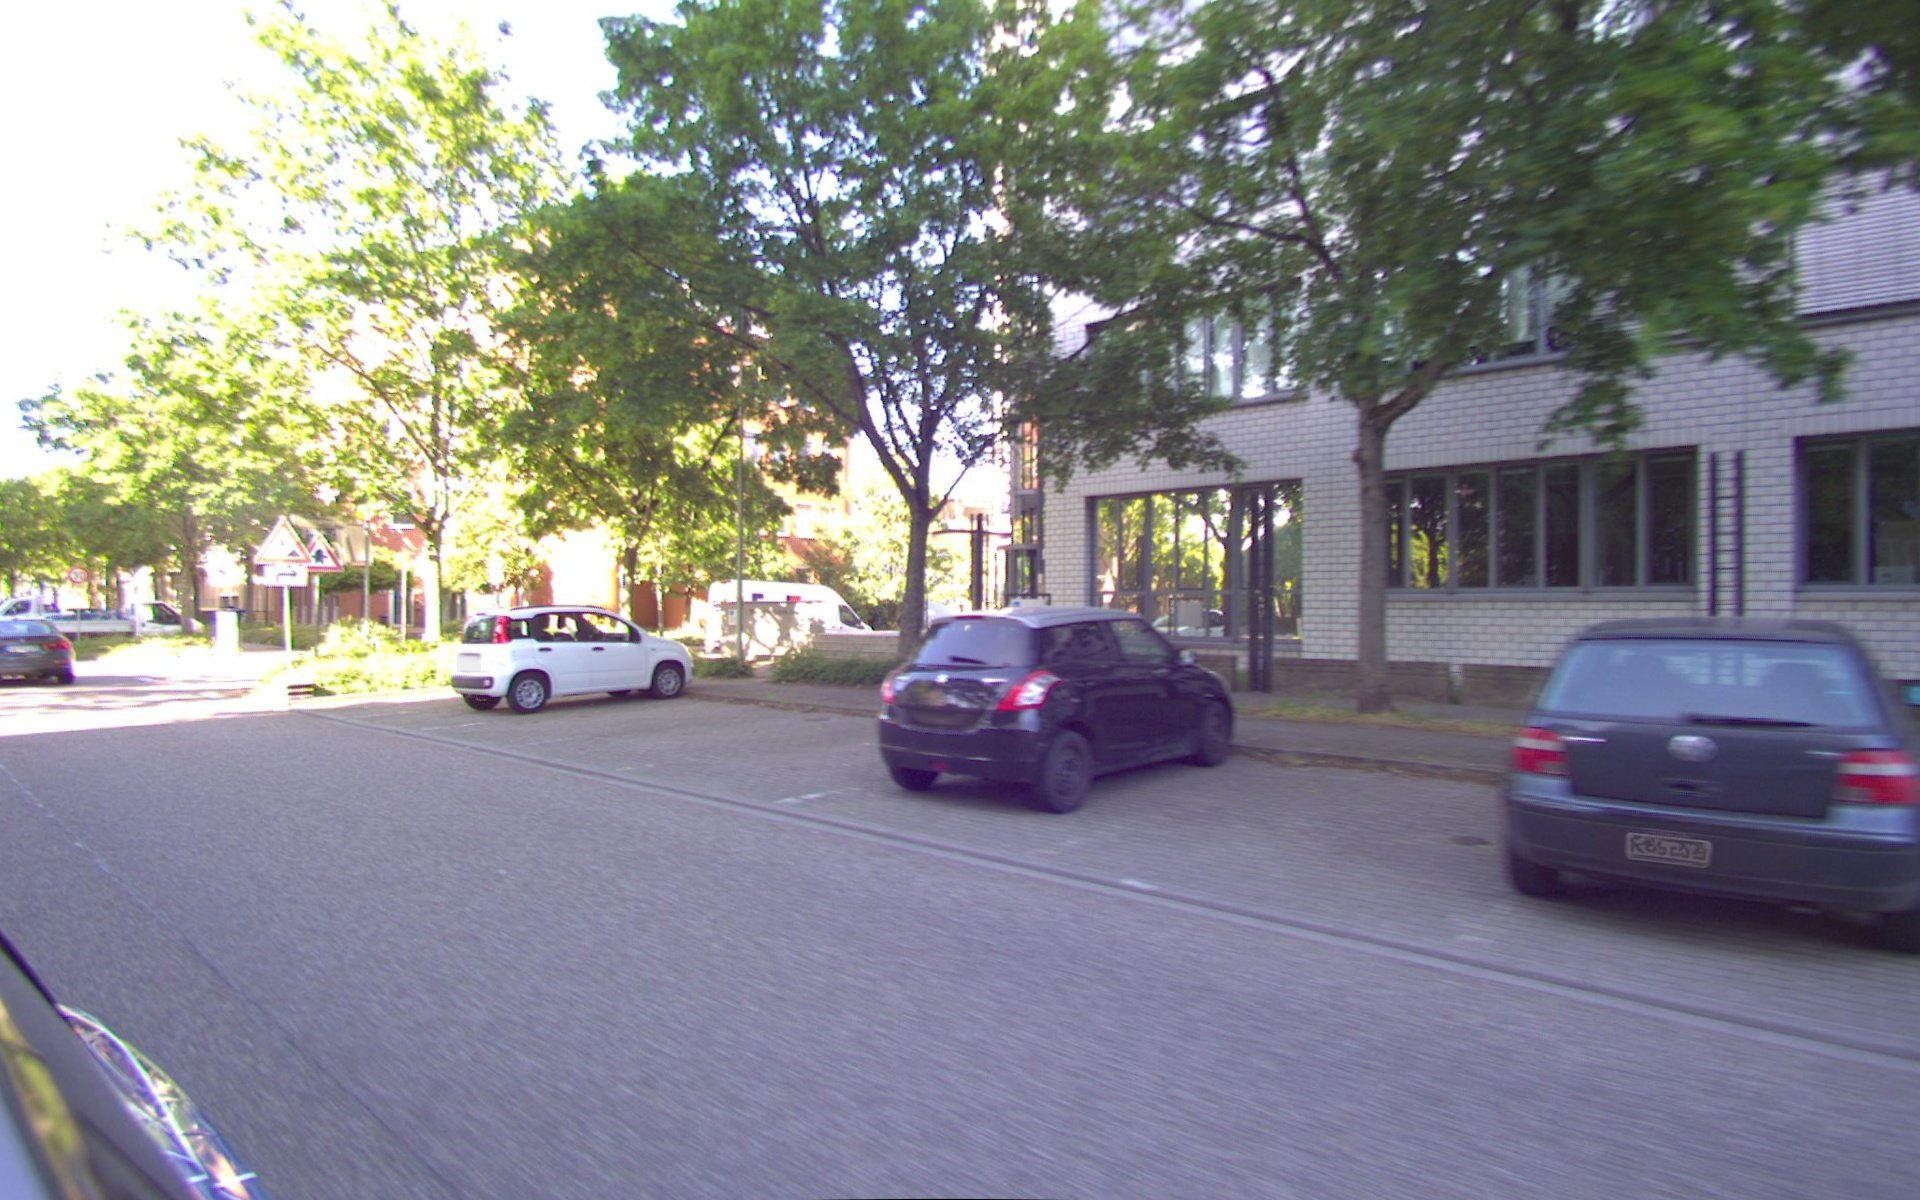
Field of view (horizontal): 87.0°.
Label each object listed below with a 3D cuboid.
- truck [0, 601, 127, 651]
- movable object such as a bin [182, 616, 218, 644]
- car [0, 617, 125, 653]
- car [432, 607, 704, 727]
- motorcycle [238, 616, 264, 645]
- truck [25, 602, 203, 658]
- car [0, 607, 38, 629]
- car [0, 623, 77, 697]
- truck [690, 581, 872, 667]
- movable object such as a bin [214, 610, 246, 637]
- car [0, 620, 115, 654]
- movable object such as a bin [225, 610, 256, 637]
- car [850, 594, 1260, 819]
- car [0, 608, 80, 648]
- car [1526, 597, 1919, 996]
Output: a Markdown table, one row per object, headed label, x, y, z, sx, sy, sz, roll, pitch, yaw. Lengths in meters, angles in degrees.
| label | x | y | z | sx | sy | sz | roll | pitch | yaw |
| --- | --- | --- | --- | --- | --- | --- | --- | --- | --- |
| truck | -46.334 | 1.303 | 51.251 | 2.187 | 2.440 | 6.165 | -1 | -2 | 42 |
| movable object such as a bin | -49.049 | 1.920 | 65.284 | 1.664 | 1.810 | 1.581 | -1 | -2 | 43 |
| car | -42.134 | 1.621 | 47.323 | 1.888 | 1.453 | 4.495 | -2 | 0 | 40 |
| car | -5.916 | 0.918 | 15.558 | 1.636 | 1.561 | 3.545 | 2 | 1 | 39 |
| motorcycle | -40.863 | 1.758 | 58.290 | 2.108 | 1.603 | 0.707 | -1 | -2 | 40 |
| truck | -31.875 | 1.135 | 38.232 | 2.138 | 1.974 | 4.930 | -1 | -2 | 43 |
| car | -67.162 | 1.283 | 70.816 | 1.753 | 1.463 | 3.716 | -2 | 0 | 41 |
| car | -19.856 | 1.196 | 21.035 | 4.106 | 1.426 | 1.794 | -1 | -1 | 42 |
| truck | -6.106 | 0.841 | 35.309 | 2.576 | 2.725 | 6.042 | -1 | -2 | 39 |
| movable object such as a bin | -44.872 | 1.425 | 62.211 | 1.436 | 1.632 | 1.137 | -1 | -1 | 29 |
| car | -44.107 | 1.766 | 49.204 | 1.998 | 1.498 | 4.382 | -1 | 0 | 40 |
| movable object such as a bin | -43.743 | 1.433 | 61.543 | 1.239 | 1.575 | 1.137 | -1 | -1 | 29 |
| car | 0.982 | 0.730 | 8.635 | 1.675 | 1.475 | 3.694 | -1 | -1 | 40 |
| car | -50.634 | 1.493 | 54.644 | 1.998 | 2.067 | 4.437 | -1 | 0 | 39 |
| car | 4.473 | 0.740 | 5.545 | 1.631 | 1.456 | 3.722 | -1 | 1 | 42 |
